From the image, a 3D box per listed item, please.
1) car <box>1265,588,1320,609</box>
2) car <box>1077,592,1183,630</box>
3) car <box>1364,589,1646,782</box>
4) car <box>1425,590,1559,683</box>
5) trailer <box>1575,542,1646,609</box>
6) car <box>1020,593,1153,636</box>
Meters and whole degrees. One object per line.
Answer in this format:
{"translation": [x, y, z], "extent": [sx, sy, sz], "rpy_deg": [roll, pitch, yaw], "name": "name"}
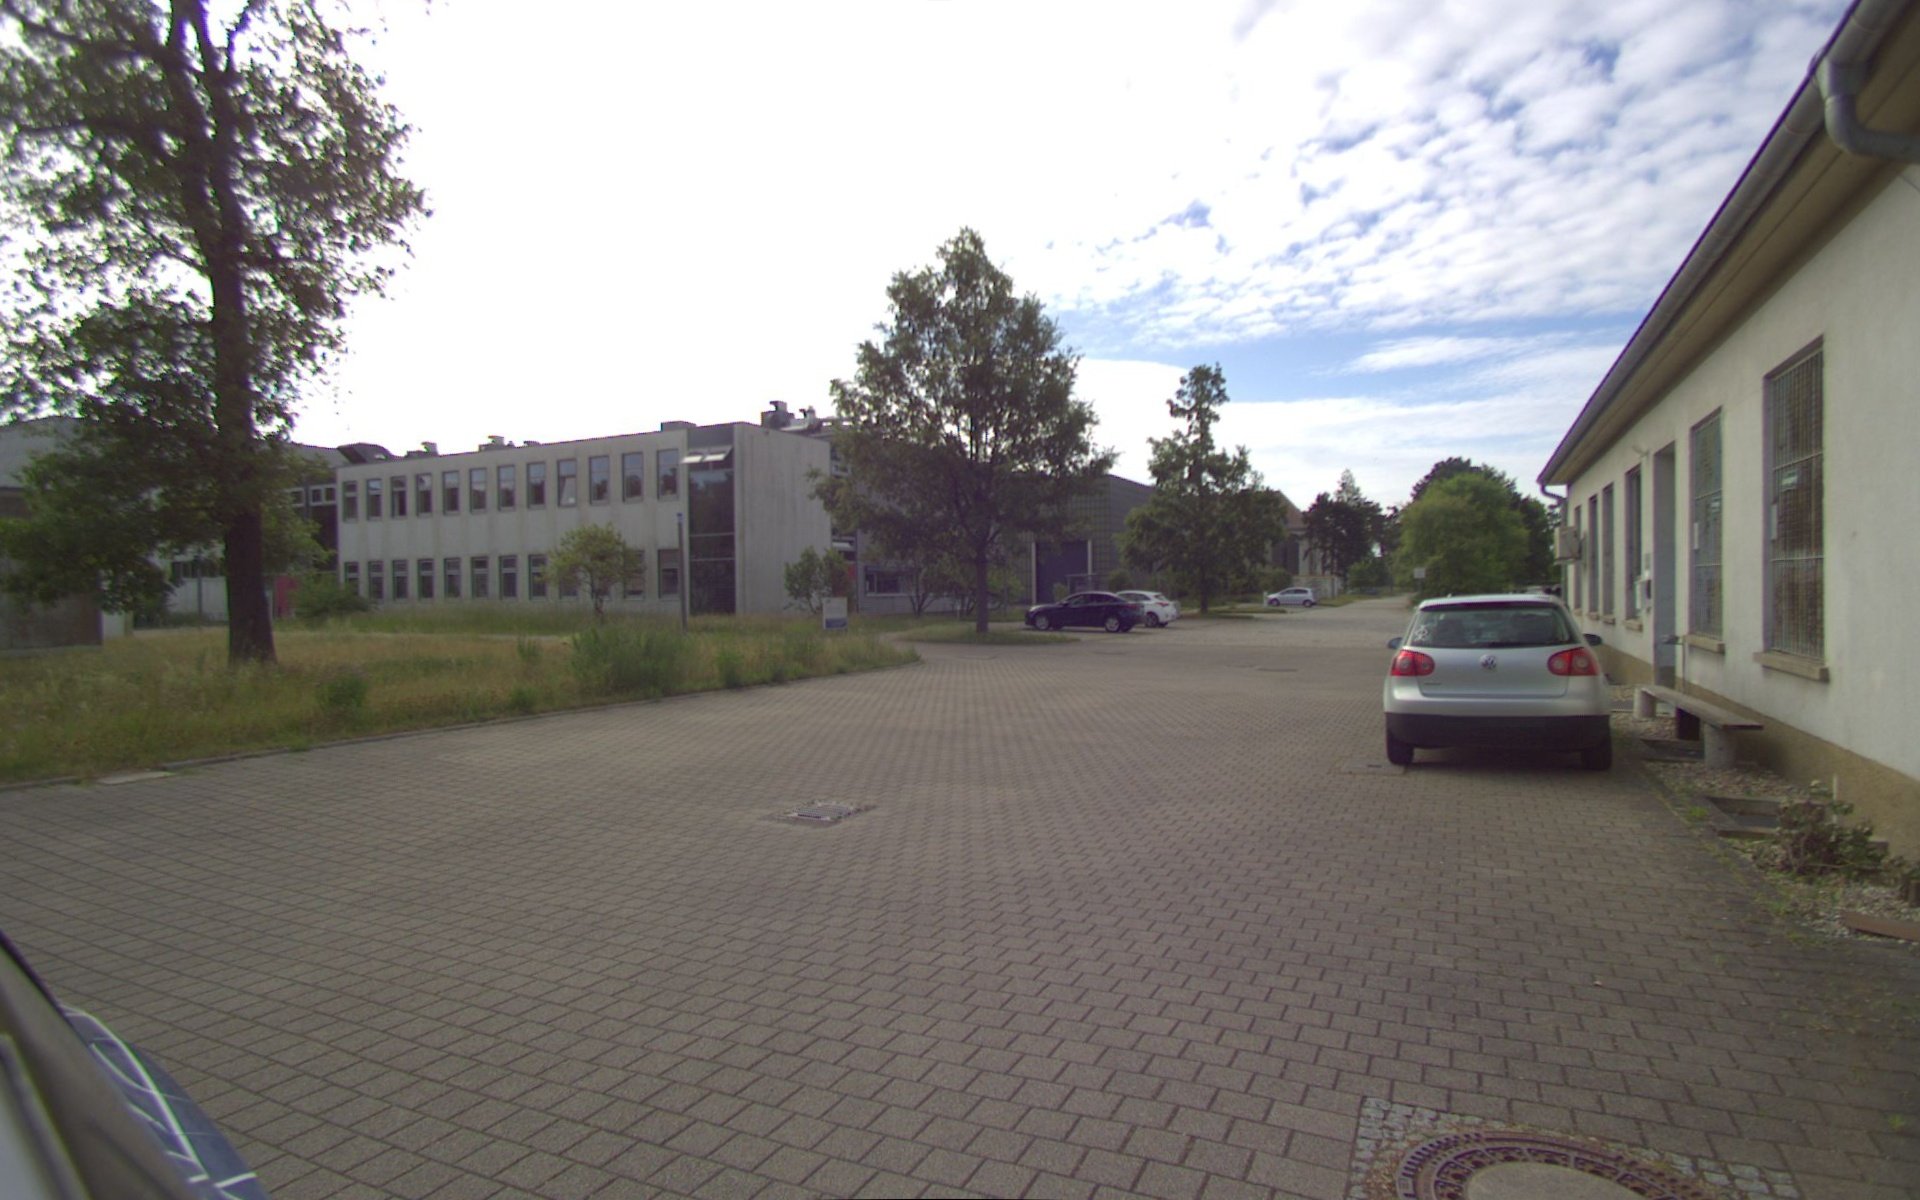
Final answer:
{"translation": [27.225, -0.130, 82.884], "extent": [4.111, 1.637, 1.923], "rpy_deg": [1, 2, 25], "name": "car"}
{"translation": [6.998, 0.430, 41.803], "extent": [3.969, 1.477, 1.865], "rpy_deg": [0, 1, 27], "name": "car"}
{"translation": [5.184, 0.654, 9.974], "extent": [1.920, 1.450, 4.330], "rpy_deg": [-2, 0, 26], "name": "car"}
{"translation": [9.650, 0.571, 18.622], "extent": [1.920, 1.472, 4.769], "rpy_deg": [0, 0, 26], "name": "car"}
{"translation": [39.135, -1.412, 61.182], "extent": [2.866, 3.690, 10.671], "rpy_deg": [-1, 0, 29], "name": "trailer"}
{"translation": [4.639, 0.488, 37.186], "extent": [4.456, 1.458, 1.927], "rpy_deg": [1, 1, 27], "name": "car"}
